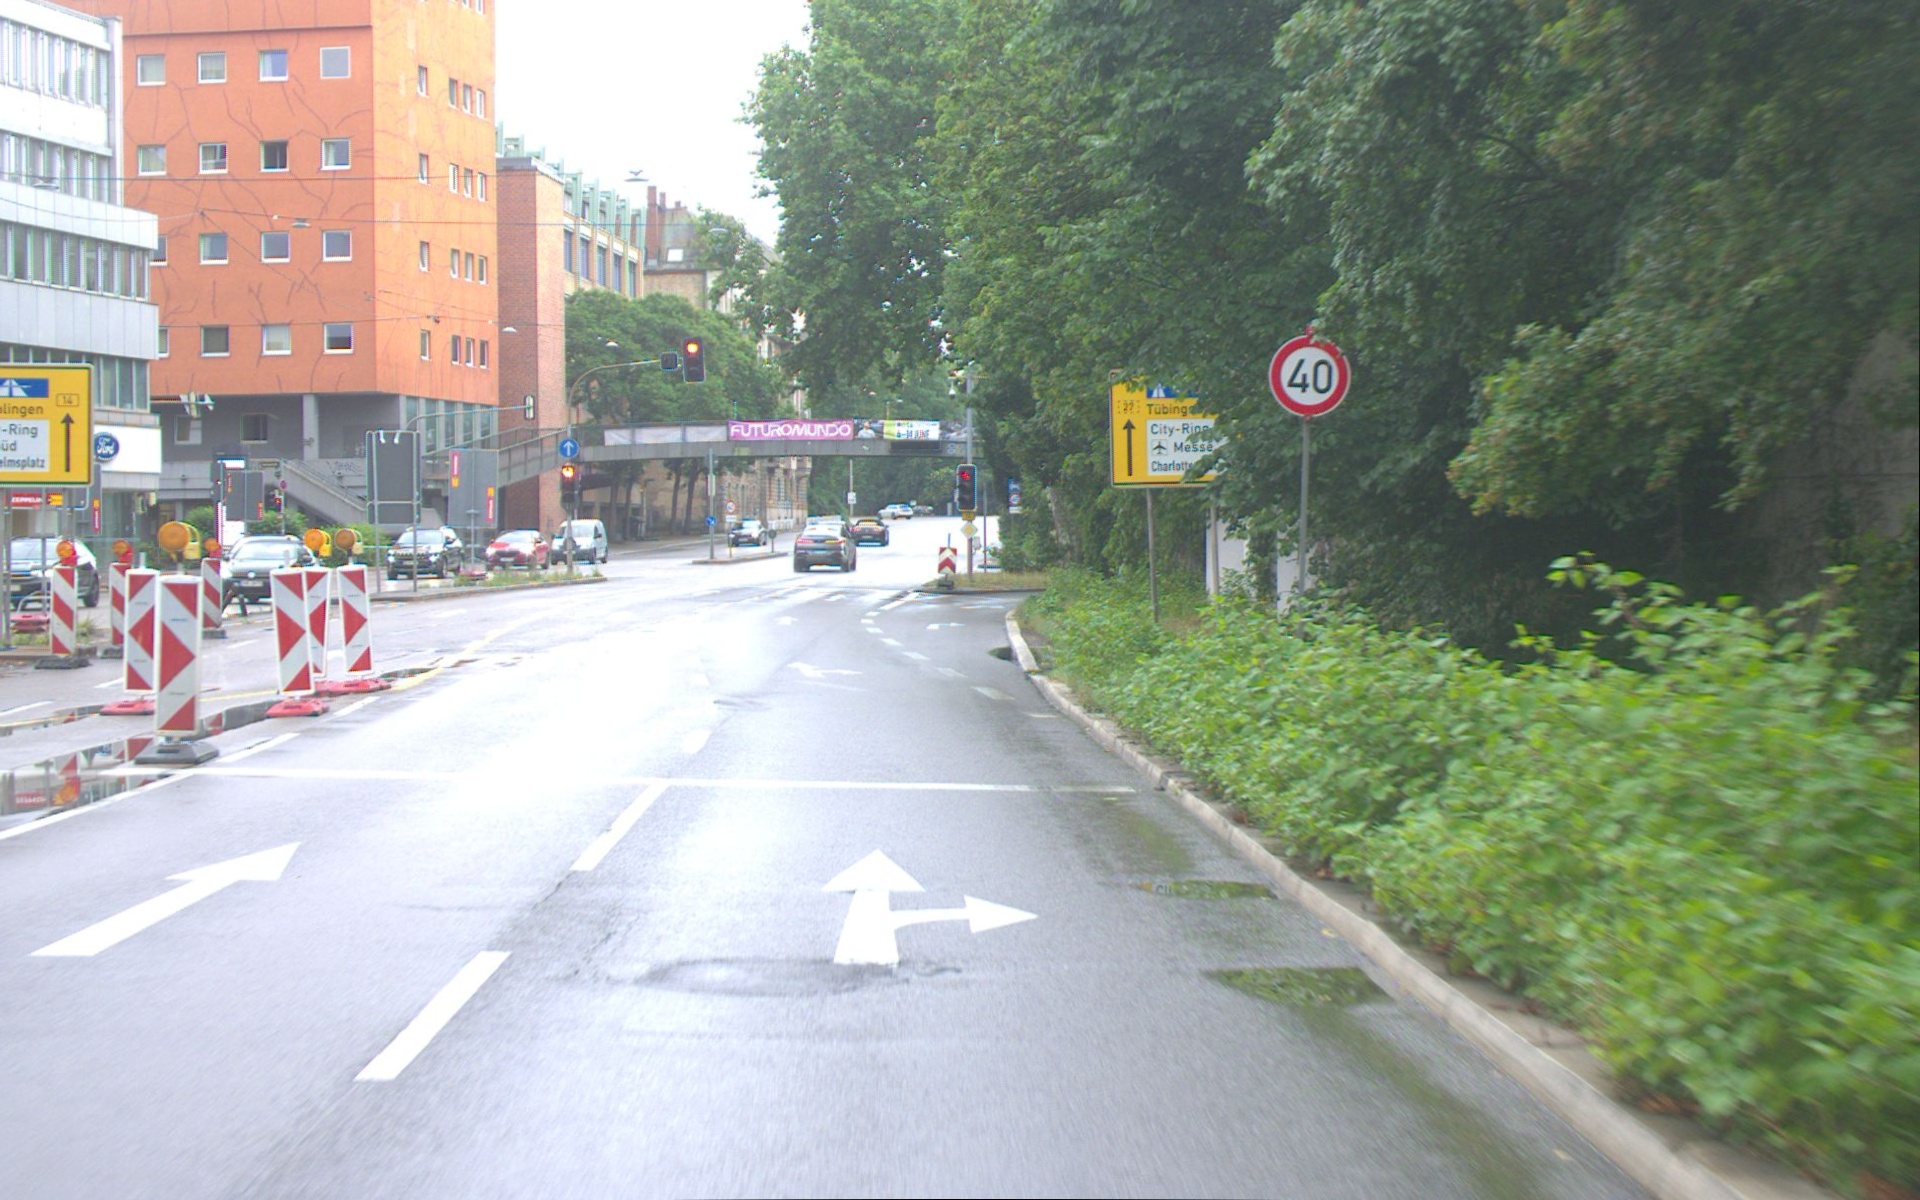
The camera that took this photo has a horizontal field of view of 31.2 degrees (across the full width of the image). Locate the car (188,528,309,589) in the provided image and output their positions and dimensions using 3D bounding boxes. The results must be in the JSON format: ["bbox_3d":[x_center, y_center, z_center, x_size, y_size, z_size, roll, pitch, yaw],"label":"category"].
[{"bbox_3d":[-18.563,-1.106,89.845,1.808,1.553,4.300,-1,1,7],"label":"car"}]

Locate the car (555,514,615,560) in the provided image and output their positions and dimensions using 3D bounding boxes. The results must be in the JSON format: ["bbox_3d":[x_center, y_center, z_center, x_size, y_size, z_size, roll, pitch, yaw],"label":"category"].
[{"bbox_3d":[-15.085,-2.531,138.580,1.734,1.780,4.301,-2,1,2],"label":"car"}]

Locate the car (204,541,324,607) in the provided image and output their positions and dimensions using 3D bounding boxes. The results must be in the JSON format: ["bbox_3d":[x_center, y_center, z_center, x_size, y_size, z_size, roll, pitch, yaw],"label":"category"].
[{"bbox_3d":[-15.453,-0.595,76.495,1.689,1.349,4.115,-2,1,2],"label":"car"}]

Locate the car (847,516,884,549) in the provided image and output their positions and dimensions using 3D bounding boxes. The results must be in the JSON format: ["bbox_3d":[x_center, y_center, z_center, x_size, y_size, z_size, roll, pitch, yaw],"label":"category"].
[{"bbox_3d":[-5.020,-3.602,183.013,1.763,1.691,3.705,-2,1,1],"label":"car"}]

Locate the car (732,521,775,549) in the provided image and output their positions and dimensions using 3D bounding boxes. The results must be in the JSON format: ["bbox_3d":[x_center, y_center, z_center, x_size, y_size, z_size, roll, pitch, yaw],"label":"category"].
[{"bbox_3d":[-11.336,-3.587,188.952,1.993,1.514,4.000,0,1,2],"label":"car"}]

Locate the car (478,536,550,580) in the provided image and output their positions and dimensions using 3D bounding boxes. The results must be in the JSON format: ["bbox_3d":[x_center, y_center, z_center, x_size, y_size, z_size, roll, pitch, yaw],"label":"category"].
[{"bbox_3d":[-16.320,-1.549,126.041,1.829,1.497,4.373,-2,1,3],"label":"car"}]

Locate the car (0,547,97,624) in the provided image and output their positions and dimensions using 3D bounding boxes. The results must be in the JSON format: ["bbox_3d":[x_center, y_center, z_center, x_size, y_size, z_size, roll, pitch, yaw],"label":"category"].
[{"bbox_3d":[-19.143,-0.290,70.126,1.752,1.508,3.999,-1,1,5],"label":"car"}]

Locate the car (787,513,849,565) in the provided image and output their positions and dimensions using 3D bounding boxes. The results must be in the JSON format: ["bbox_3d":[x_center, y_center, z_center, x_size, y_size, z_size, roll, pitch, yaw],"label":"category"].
[{"bbox_3d":[-5.153,-2.241,125.178,2.120,1.729,4.199,2,2,-1],"label":"car"}]

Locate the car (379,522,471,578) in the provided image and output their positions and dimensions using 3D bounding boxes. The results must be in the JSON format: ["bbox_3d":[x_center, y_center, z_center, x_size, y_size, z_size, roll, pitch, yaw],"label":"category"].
[{"bbox_3d":[-17.218,-1.635,110.882,1.846,1.731,4.604,-1,1,5],"label":"car"}]
